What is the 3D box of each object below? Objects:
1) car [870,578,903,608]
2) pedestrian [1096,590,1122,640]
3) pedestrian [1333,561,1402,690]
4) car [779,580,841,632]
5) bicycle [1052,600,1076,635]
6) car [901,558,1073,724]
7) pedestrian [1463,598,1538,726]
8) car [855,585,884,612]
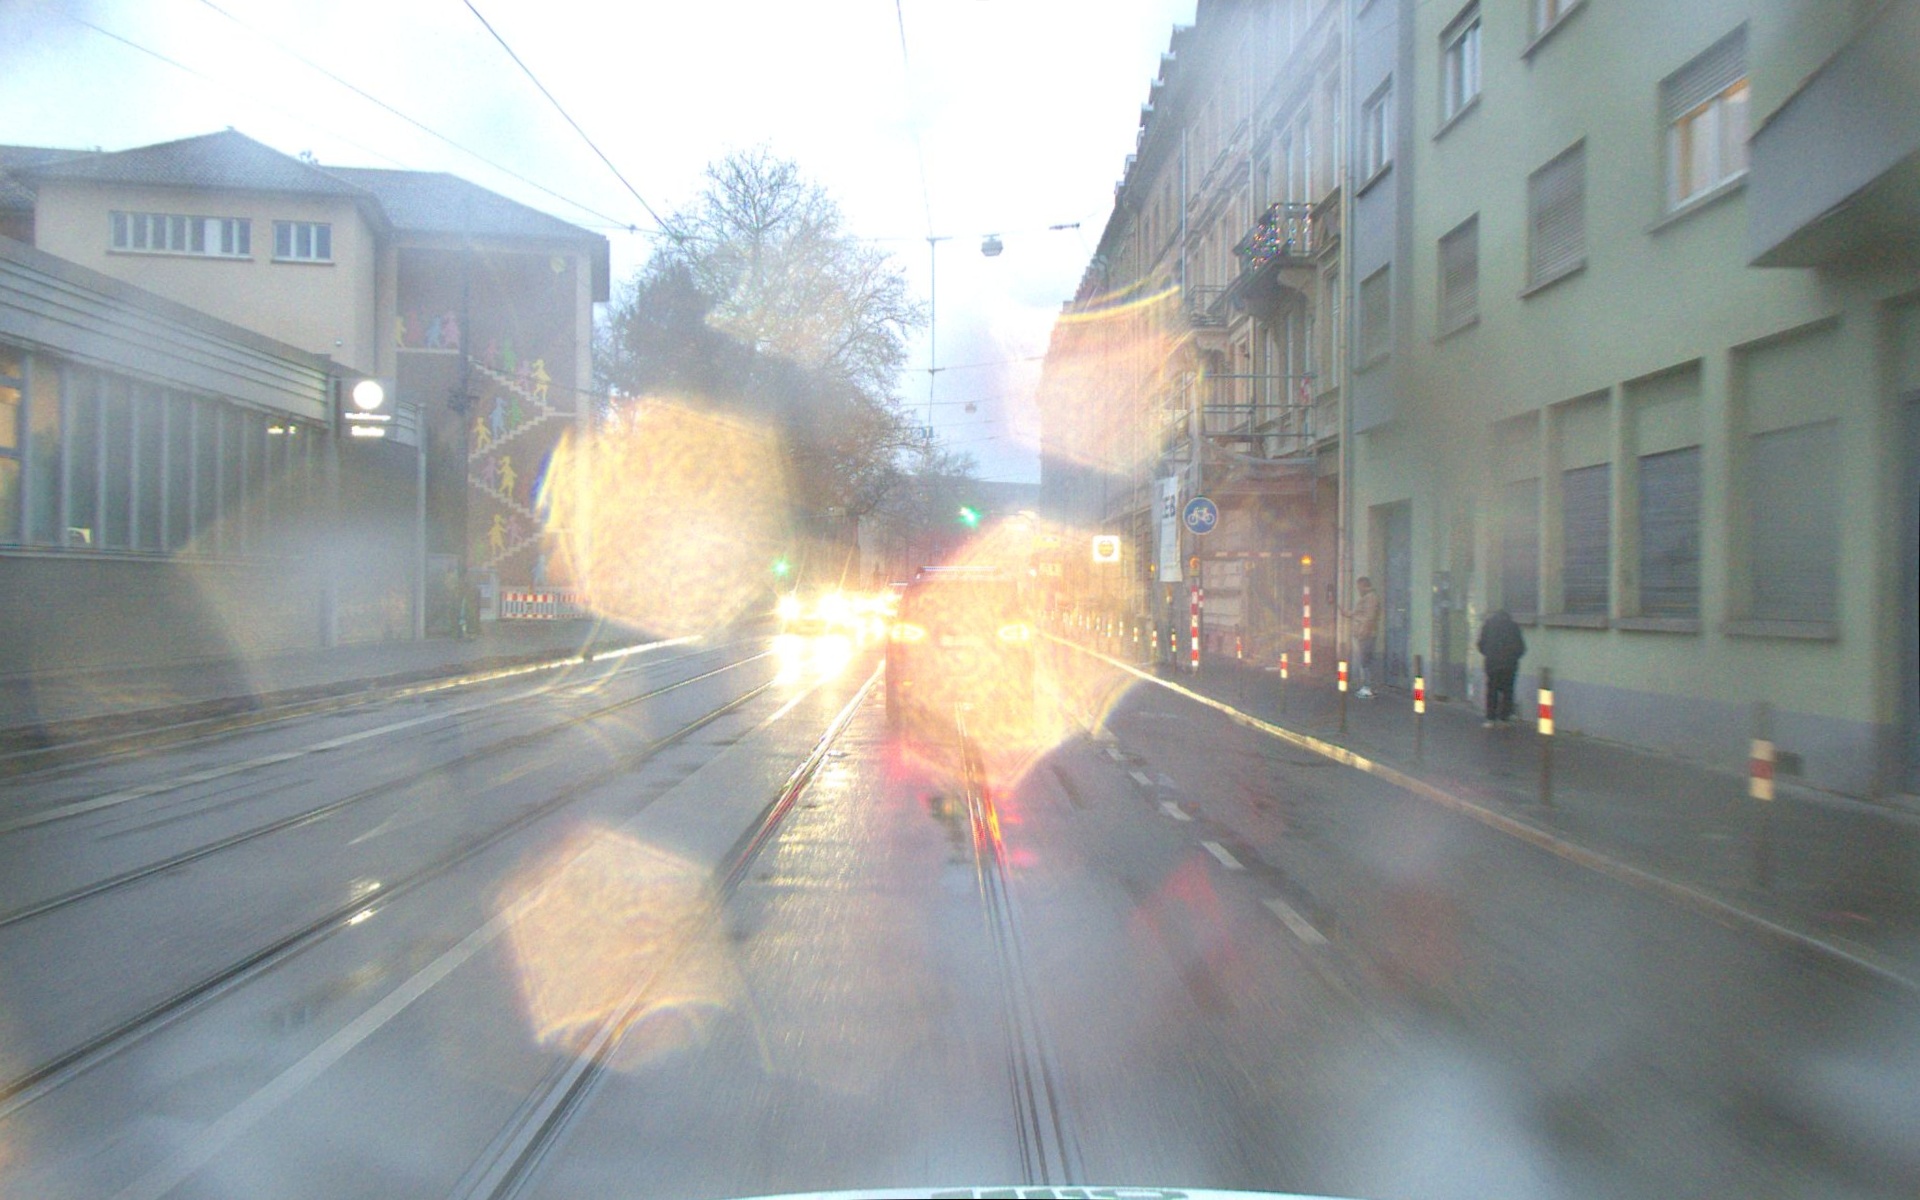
[{"bbox_3d":[-5.940,-0.555,134.302,2.396,2.388,5.844,0,0,0],"label":"car"},{"bbox_3d":[5.243,0.509,58.157,0.817,1.731,0.954,1,0,8],"label":"pedestrian"},{"bbox_3d":[5.937,0.369,24.113,0.592,1.850,0.769,1,-1,-28],"label":"pedestrian"},{"bbox_3d":[-5.253,0.182,58.390,1.837,1.739,4.759,-1,0,-1],"label":"car"},{"bbox_3d":[3.596,0.587,57.458,0.670,1.176,2.188,1,0,0],"label":"bicycle"},{"bbox_3d":[0.380,0.463,20.932,1.952,1.874,4.001,1,0,2],"label":"car"},{"bbox_3d":[6.042,0.680,18.514,0.587,1.401,0.728,1,0,-1],"label":"pedestrian"},{"bbox_3d":[-5.260,-0.101,95.997,1.499,1.507,3.561,0,0,0],"label":"car"}]
